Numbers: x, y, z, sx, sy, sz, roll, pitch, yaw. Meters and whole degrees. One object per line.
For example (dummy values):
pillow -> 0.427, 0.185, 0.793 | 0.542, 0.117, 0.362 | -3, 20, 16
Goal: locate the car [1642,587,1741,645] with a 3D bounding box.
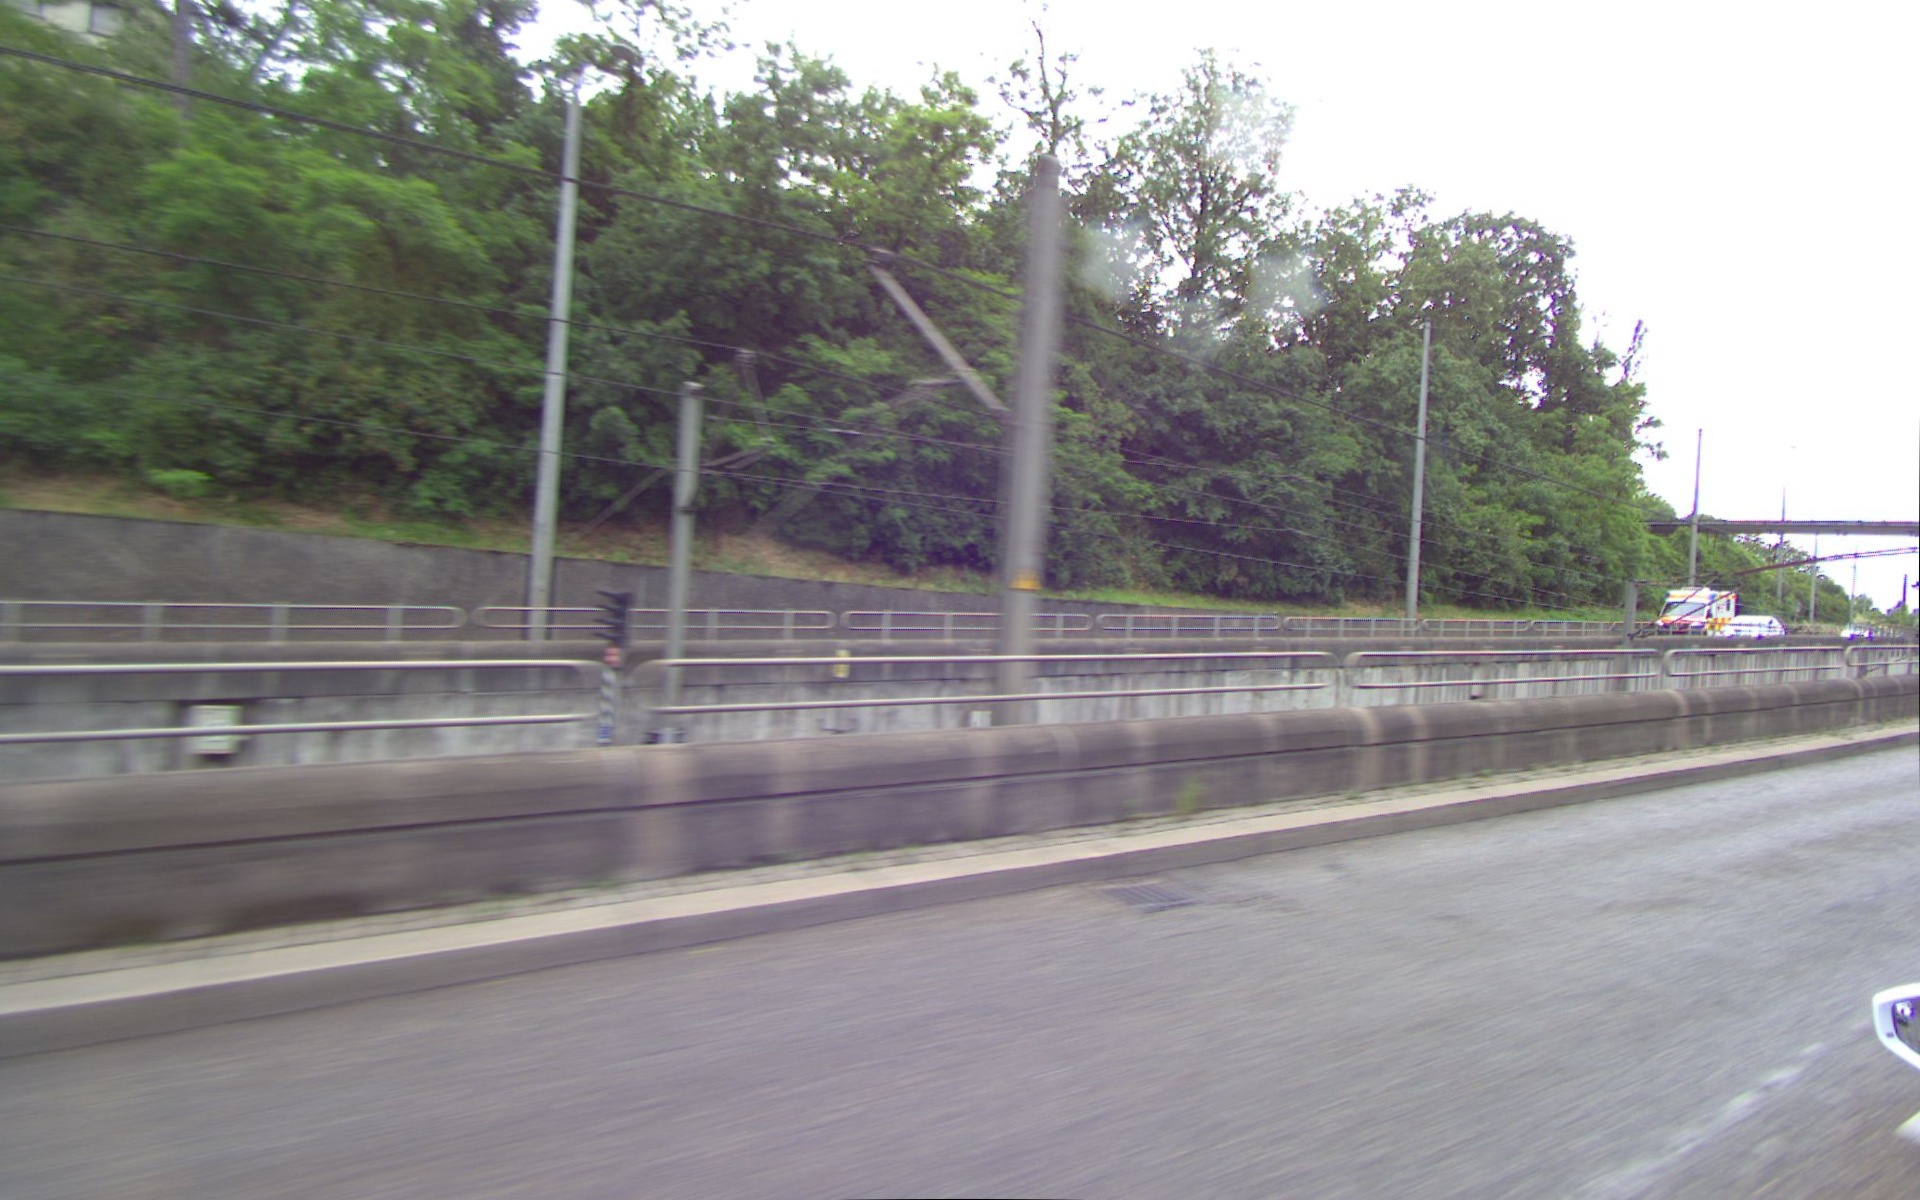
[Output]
car -> 36.701, 0.848, 50.310 | 6.283, 2.770, 2.168 | 2, -1, -36

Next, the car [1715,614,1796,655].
car -> 35.412, 1.522, 44.700 | 4.071, 1.726, 1.805 | 2, -1, -36

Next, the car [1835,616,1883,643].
car -> 61.749, 2.050, 68.962 | 4.108, 1.773, 1.944 | 2, -1, -41
